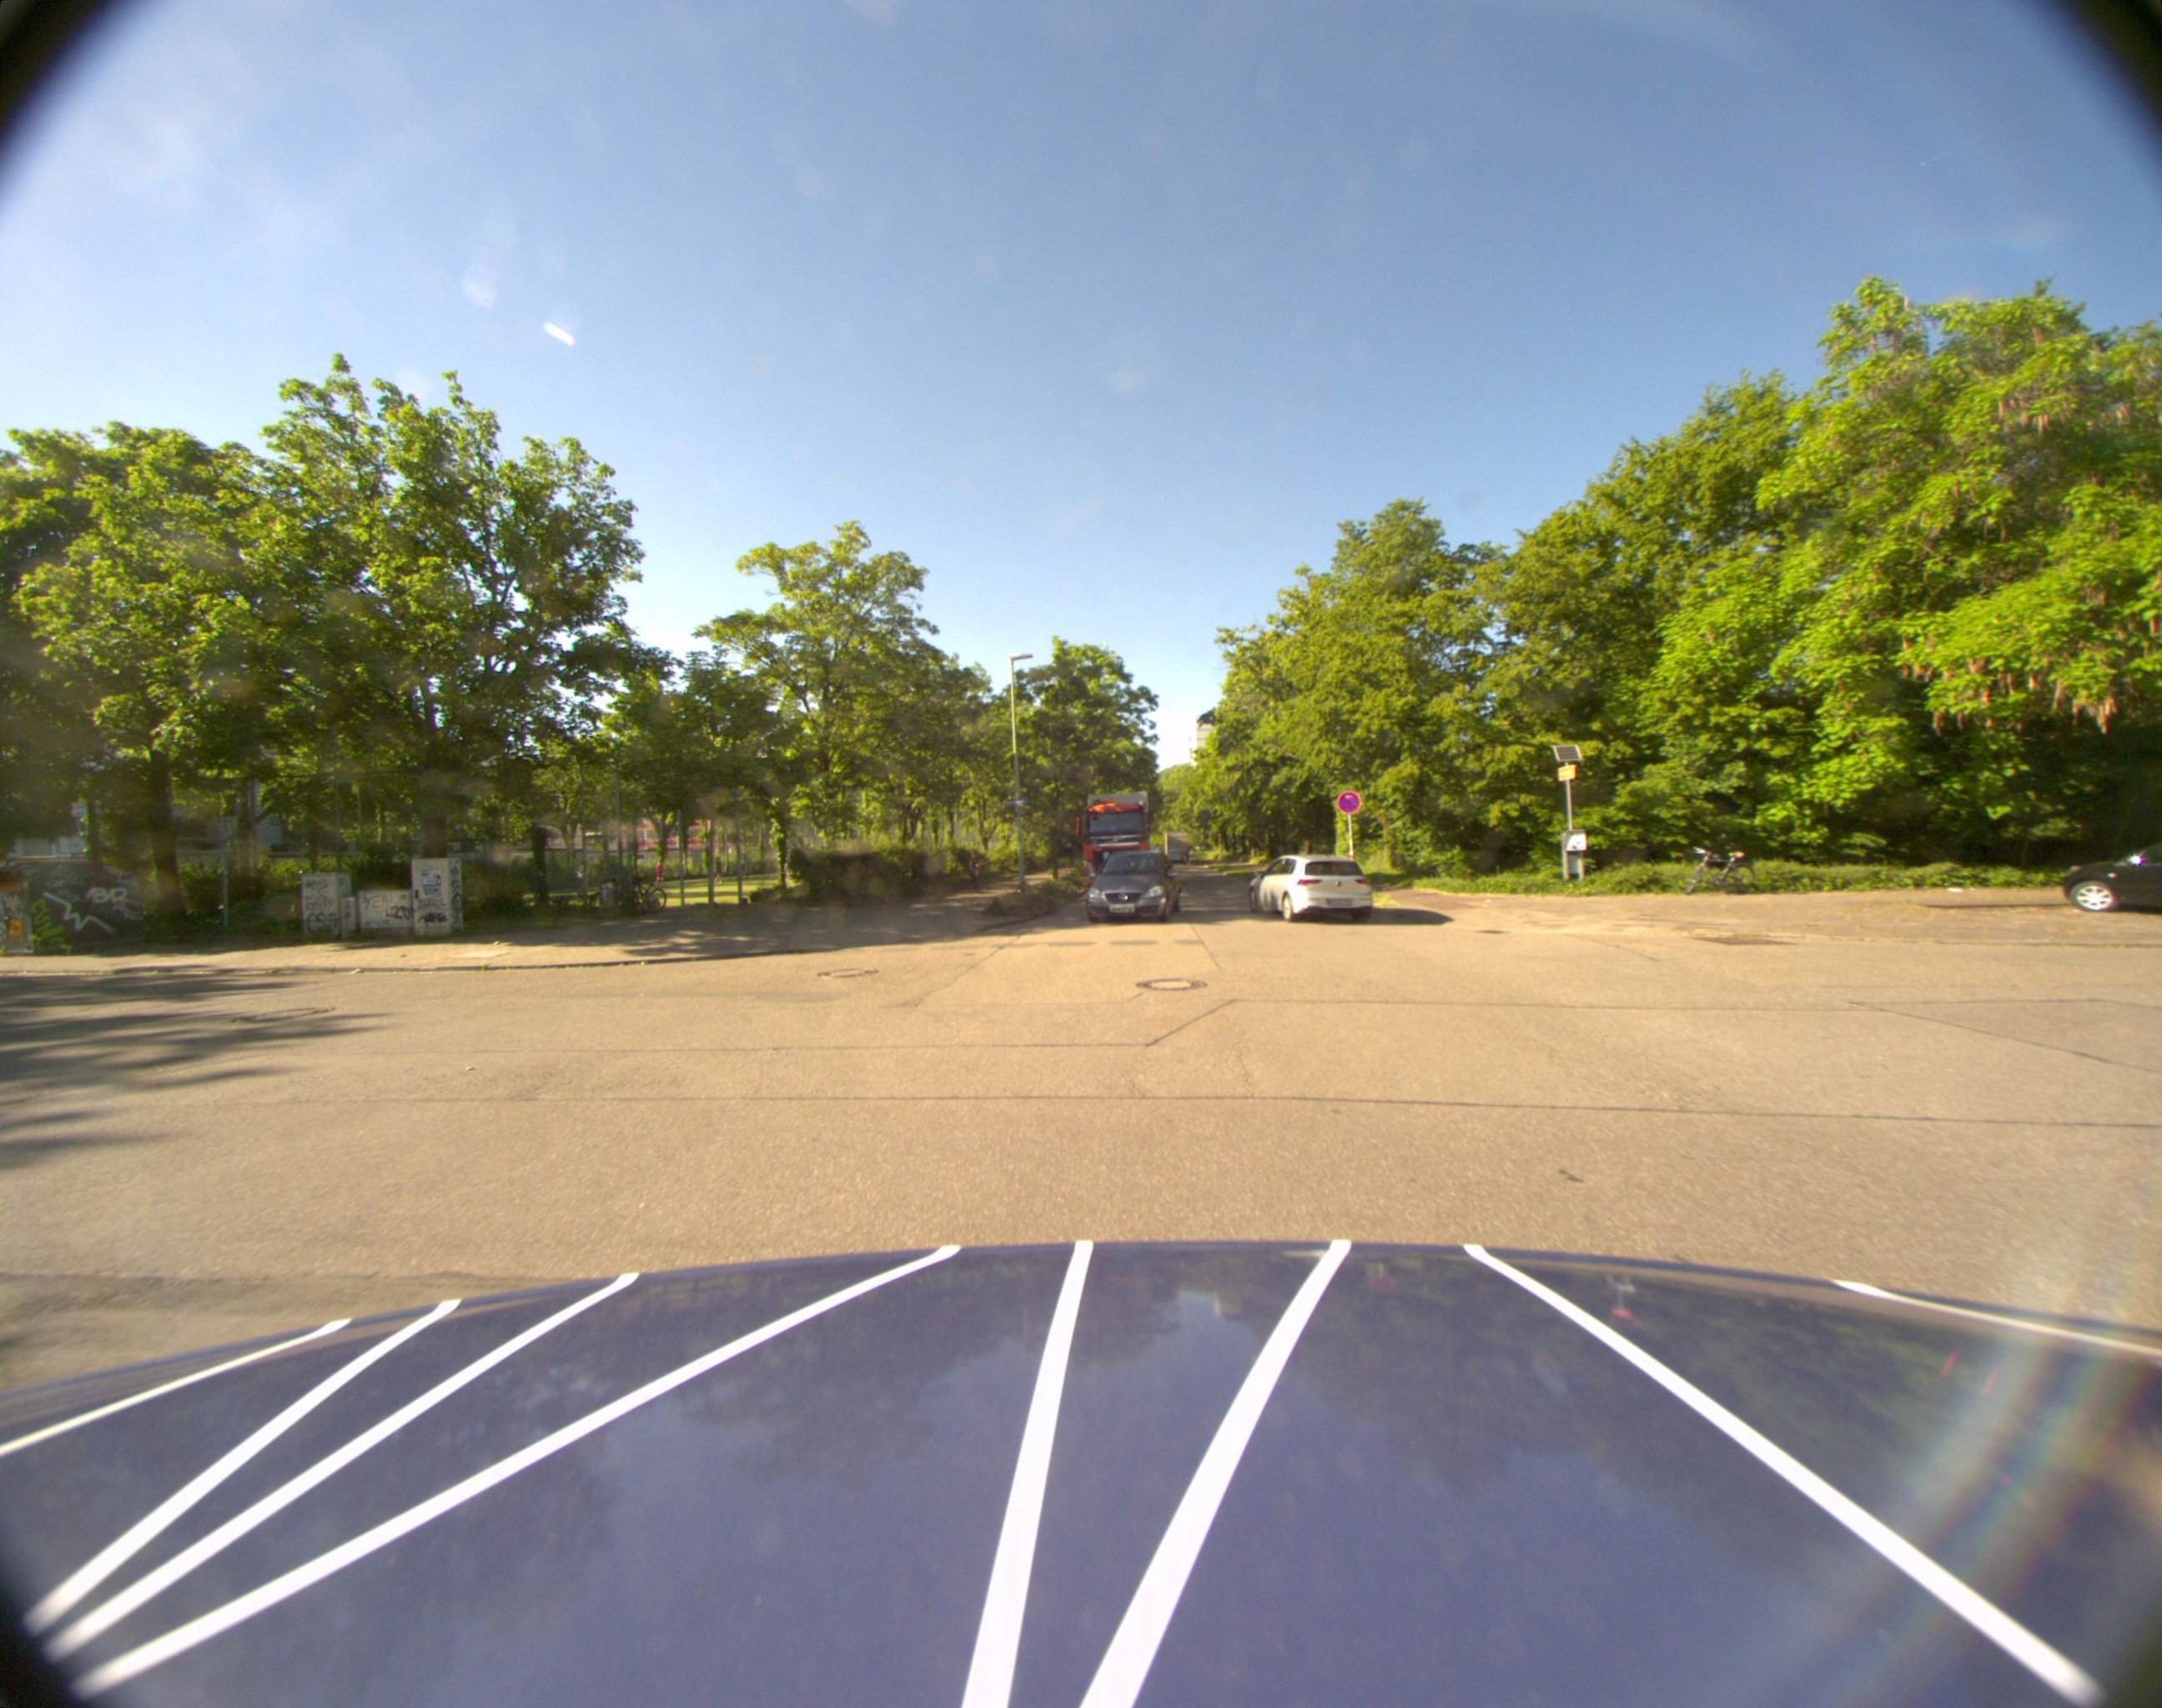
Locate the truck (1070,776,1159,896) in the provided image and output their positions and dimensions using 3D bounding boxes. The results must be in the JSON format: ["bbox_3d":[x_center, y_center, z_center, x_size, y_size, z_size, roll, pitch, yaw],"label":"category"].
[{"bbox_3d":[1.752,-0.700,33.263,3.165,4.320,10.587,-1,1,6],"label":"truck"}]

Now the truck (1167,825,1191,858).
[{"bbox_3d":[12.389,-1.668,96.966,2.802,3.996,9.628,0,2,6],"label":"truck"}]

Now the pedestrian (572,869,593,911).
[{"bbox_3d":[-18.635,1.331,28.417,0.437,1.527,0.429,-1,1,1],"label":"pedestrian"}]

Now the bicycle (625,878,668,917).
[{"bbox_3d":[-11.284,1.123,19.735,0.909,0.953,0.294,-2,1,-43],"label":"bicycle"}]

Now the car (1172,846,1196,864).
[{"bbox_3d":[9.985,0.080,73.828,1.998,1.576,4.001,-1,0,4],"label":"car"}]

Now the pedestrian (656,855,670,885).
[{"bbox_3d":[-21.726,0.835,39.463,0.437,1.527,0.429,-1,1,1],"label":"pedestrian"}]

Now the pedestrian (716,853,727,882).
[{"bbox_3d":[-19.024,0.725,40.189,0.320,1.527,0.393,-1,1,1],"label":"pedestrian"}]

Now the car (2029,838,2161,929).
[{"bbox_3d":[19.144,0.514,12.785,1.673,1.479,3.885,-1,2,5],"label":"car"}]

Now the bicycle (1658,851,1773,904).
[{"bbox_3d":[14.769,0.550,17.743,1.902,1.146,0.761,-1,4,15],"label":"bicycle"}]

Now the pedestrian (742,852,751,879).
[{"bbox_3d":[-18.970,0.666,43.099,0.317,1.527,0.402,-1,1,1],"label":"pedestrian"}]

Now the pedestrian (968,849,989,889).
[{"bbox_3d":[-4.224,0.596,31.340,0.641,1.629,0.641,-1,1,8],"label":"pedestrian"}]

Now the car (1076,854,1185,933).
[{"bbox_3d":[1.276,0.835,17.748,1.853,1.635,3.760,-1,0,14],"label":"car"}]

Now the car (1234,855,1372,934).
[{"bbox_3d":[4.912,0.820,17.421,1.666,1.458,4.186,0,2,-4],"label":"car"}]
